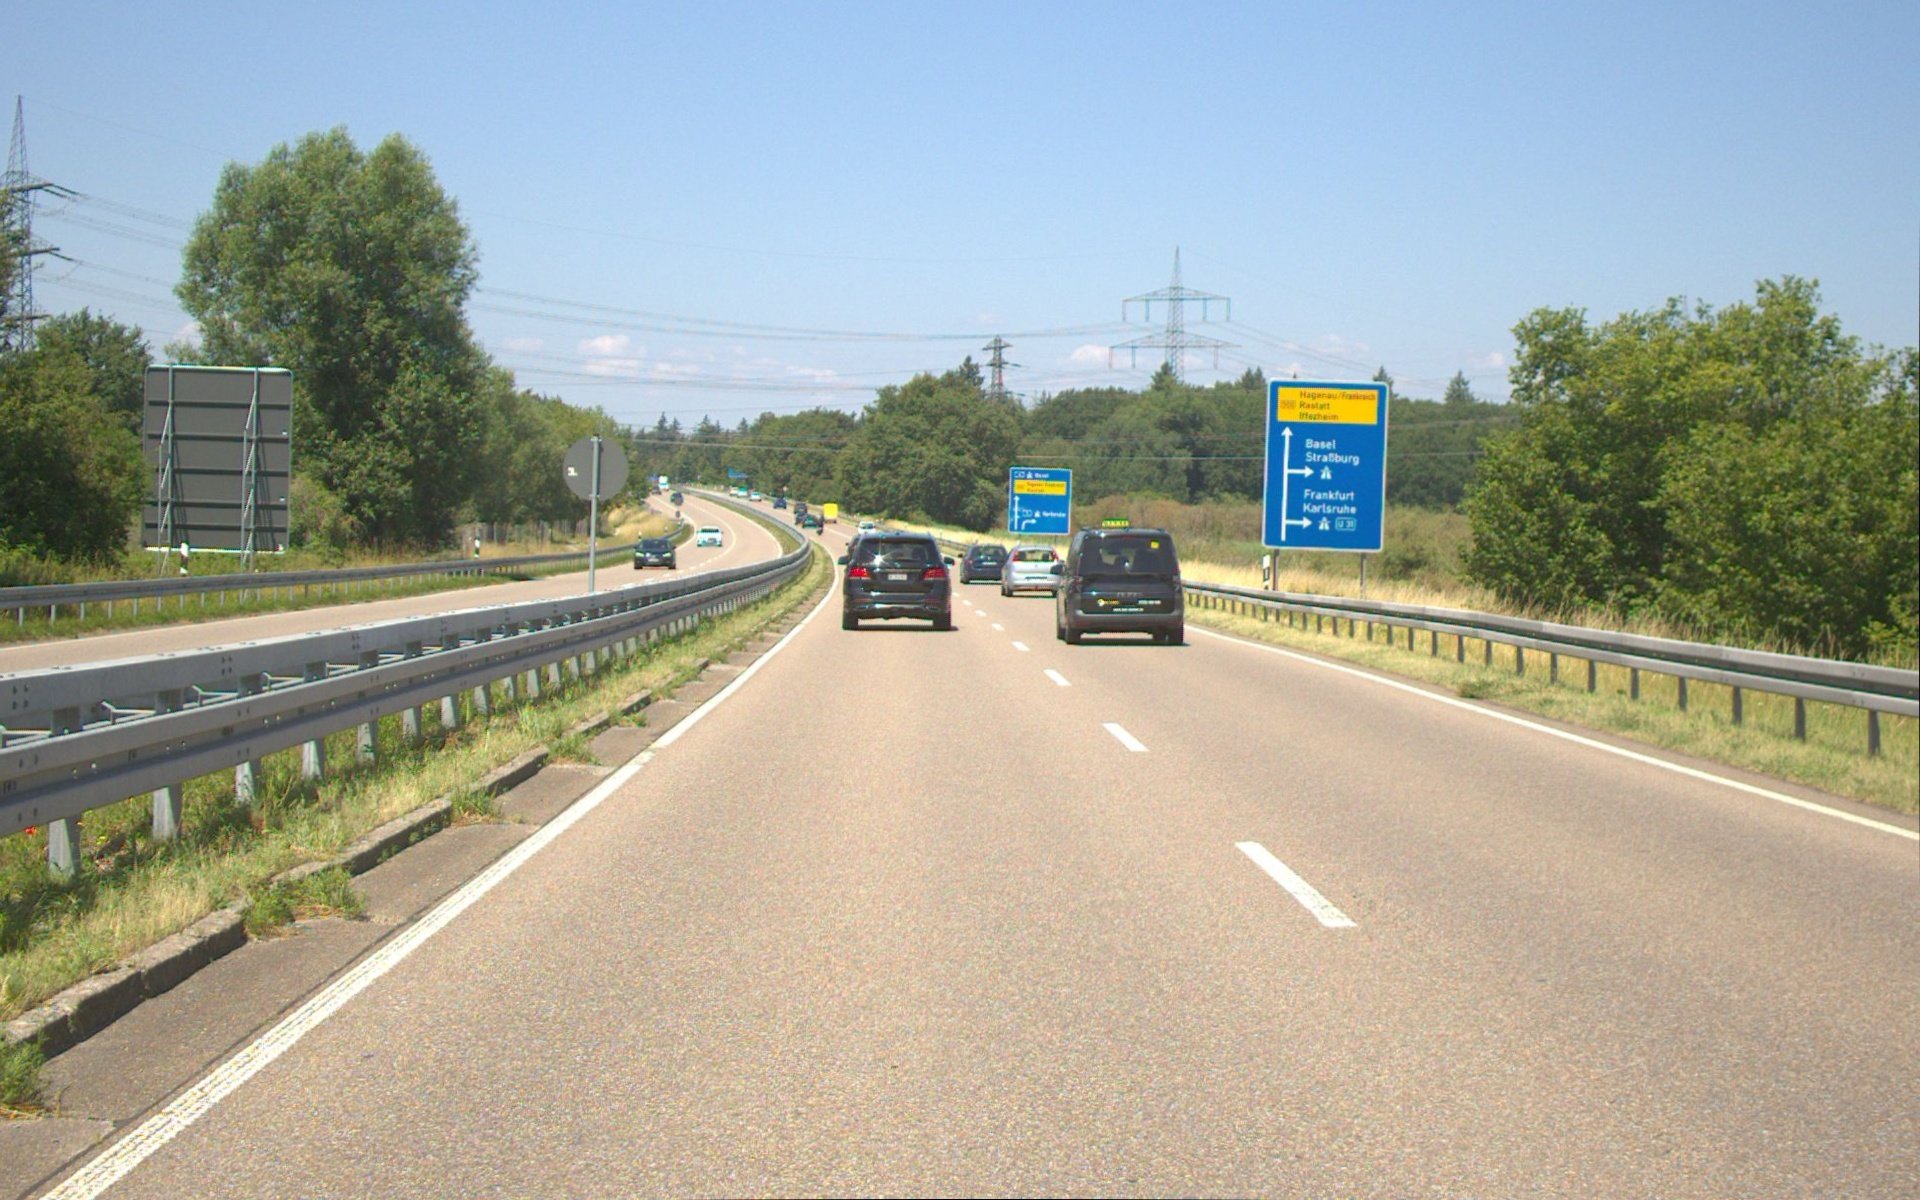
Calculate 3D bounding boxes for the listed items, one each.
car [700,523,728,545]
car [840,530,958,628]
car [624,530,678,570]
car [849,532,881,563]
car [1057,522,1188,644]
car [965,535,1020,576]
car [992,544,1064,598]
[{"bbox_3d":[-18.150,-4.874,253.813,1.827,1.492,4.103,2,1,-2],"label":"car"},{"bbox_3d":[-1.134,-0.399,61.678,1.993,1.649,4.000,1,1,-2],"label":"car"},{"bbox_3d":[-14.156,-2.310,157.608,1.993,1.631,4.874,4,1,-1],"label":"car"},{"bbox_3d":[-4.966,-2.739,179.328,1.514,1.470,3.066,4,1,-2],"label":"car"},{"bbox_3d":[2.531,-0.293,54.437,1.780,1.810,4.213,1,1,-1],"label":"car"},{"bbox_3d":[1.140,-1.590,122.215,1.819,1.409,4.001,1,1,-1],"label":"car"},{"bbox_3d":[1.929,-0.858,98.893,1.779,1.474,4.316,1,1,-2],"label":"car"}]
